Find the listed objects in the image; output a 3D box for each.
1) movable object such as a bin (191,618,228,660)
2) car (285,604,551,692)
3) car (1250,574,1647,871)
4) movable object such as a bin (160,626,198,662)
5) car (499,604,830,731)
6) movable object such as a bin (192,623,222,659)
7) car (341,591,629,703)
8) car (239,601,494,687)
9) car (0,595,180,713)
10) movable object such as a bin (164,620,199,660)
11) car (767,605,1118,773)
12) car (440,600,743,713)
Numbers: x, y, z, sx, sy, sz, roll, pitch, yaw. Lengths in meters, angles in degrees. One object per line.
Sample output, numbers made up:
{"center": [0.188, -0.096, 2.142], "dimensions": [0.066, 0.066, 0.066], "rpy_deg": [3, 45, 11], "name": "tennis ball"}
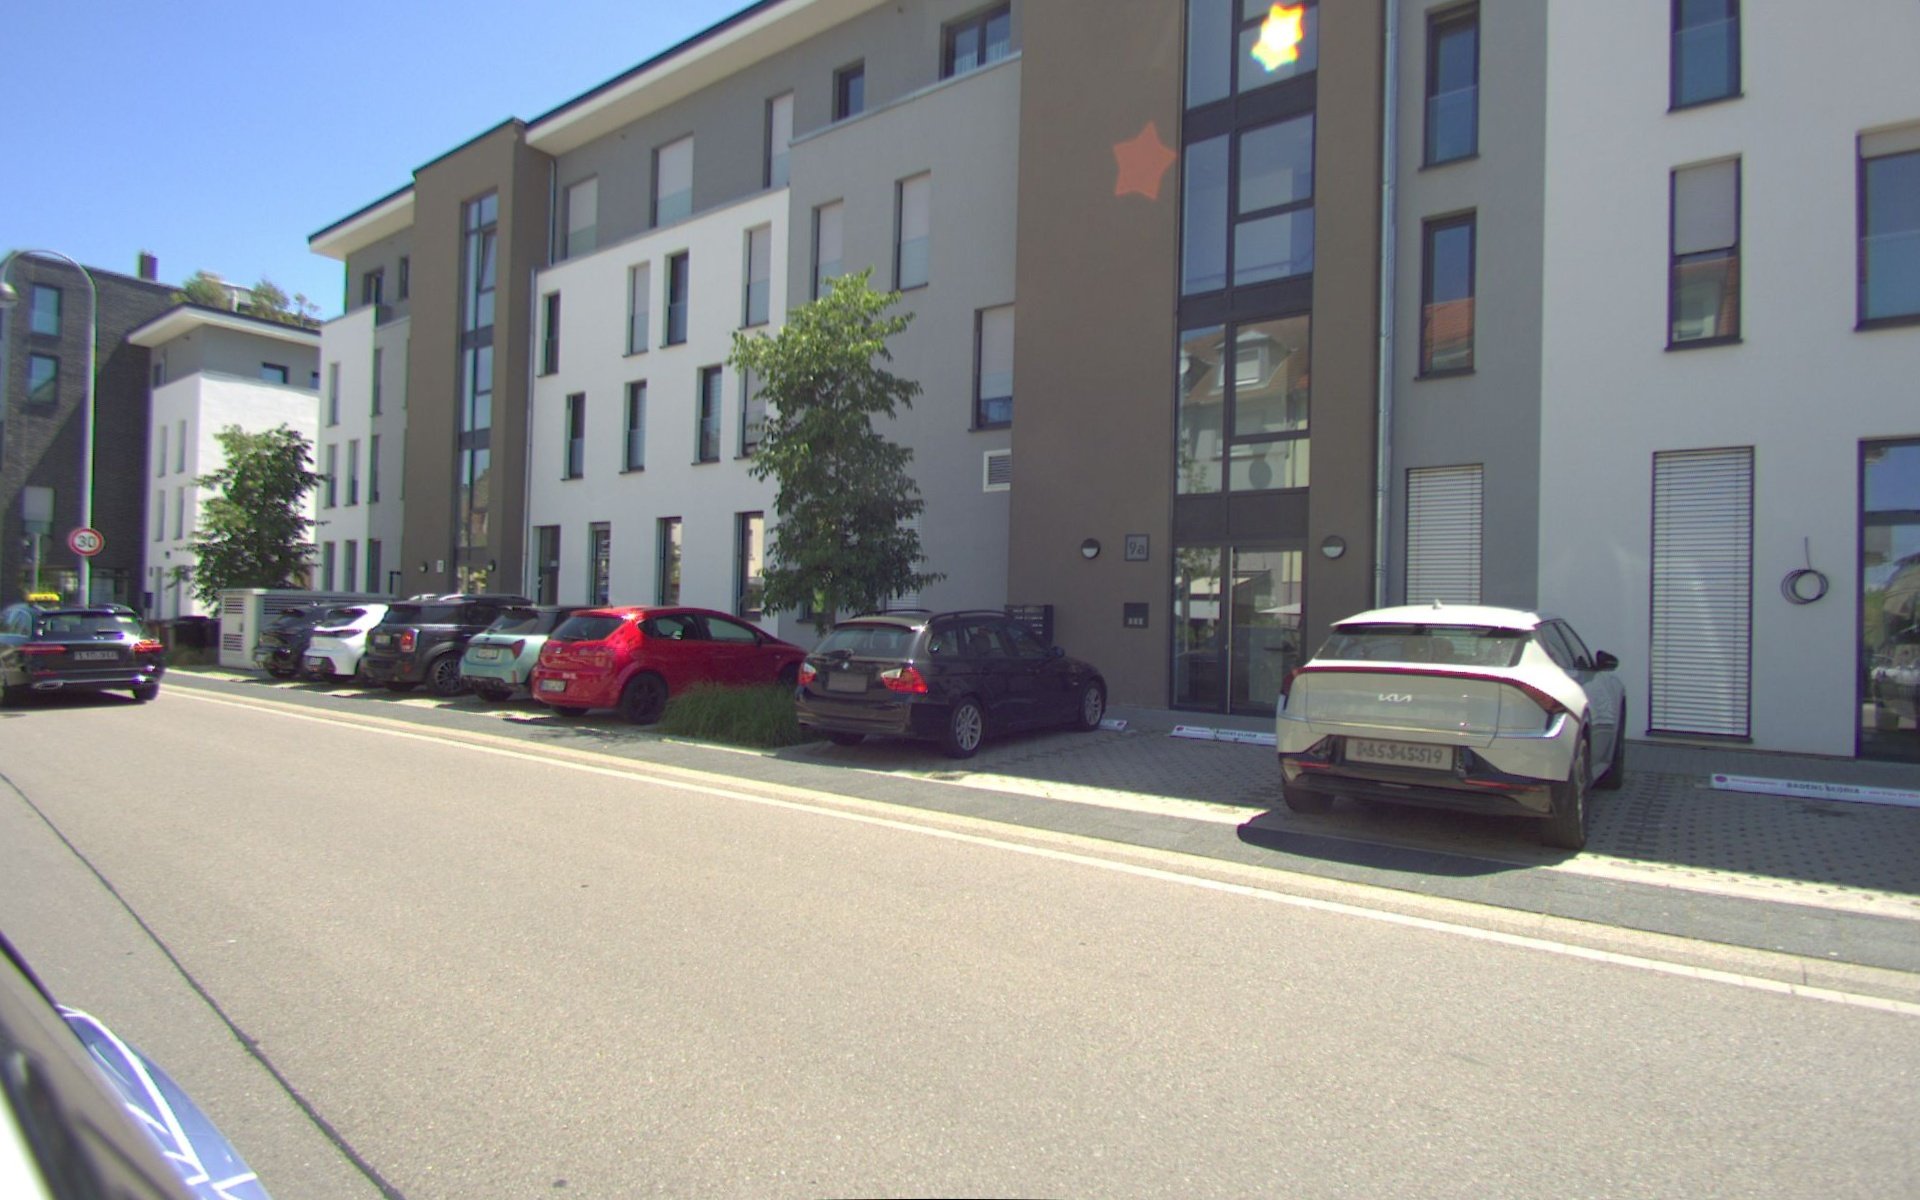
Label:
{"center": [-19.360, 1.004, 26.113], "dimensions": [0.541, 1.047, 0.552], "rpy_deg": [1, -1, 20], "name": "movable object such as a bin"}
{"center": [-9.960, 0.802, 18.827], "dimensions": [1.907, 1.432, 3.950], "rpy_deg": [0, 0, 37], "name": "car"}
{"center": [4.017, 0.662, 7.840], "dimensions": [1.997, 1.603, 4.413], "rpy_deg": [0, 0, 37], "name": "car"}
{"center": [-19.427, 1.099, 25.178], "dimensions": [0.478, 0.874, 0.552], "rpy_deg": [1, -1, 20], "name": "movable object such as a bin"}
{"center": [-3.872, 0.783, 13.840], "dimensions": [1.996, 1.441, 3.997], "rpy_deg": [0, 0, 35], "name": "car"}
{"center": [-21.450, 1.157, 28.819], "dimensions": [0.585, 1.005, 0.479], "rpy_deg": [0, -1, 30], "name": "movable object such as a bin"}
{"center": [-7.961, 0.699, 17.236], "dimensions": [1.998, 1.663, 3.992], "rpy_deg": [0, 0, 39], "name": "car"}
{"center": [-11.705, 0.800, 20.163], "dimensions": [1.997, 1.527, 3.949], "rpy_deg": [-2, -1, 38], "name": "car"}
{"center": [-13.989, 0.751, 15.669], "dimensions": [4.791, 1.565, 1.876], "rpy_deg": [-1, -1, 37], "name": "car"}
{"center": [-20.180, 1.034, 26.231], "dimensions": [0.558, 1.028, 0.550], "rpy_deg": [0, -1, 32], "name": "movable object such as a bin"}
{"center": [0.024, 0.787, 11.098], "dimensions": [1.880, 1.448, 4.167], "rpy_deg": [0, 0, 33], "name": "car"}
{"center": [-5.605, 0.766, 15.760], "dimensions": [1.998, 1.508, 3.992], "rpy_deg": [0, 0, 39], "name": "car"}
